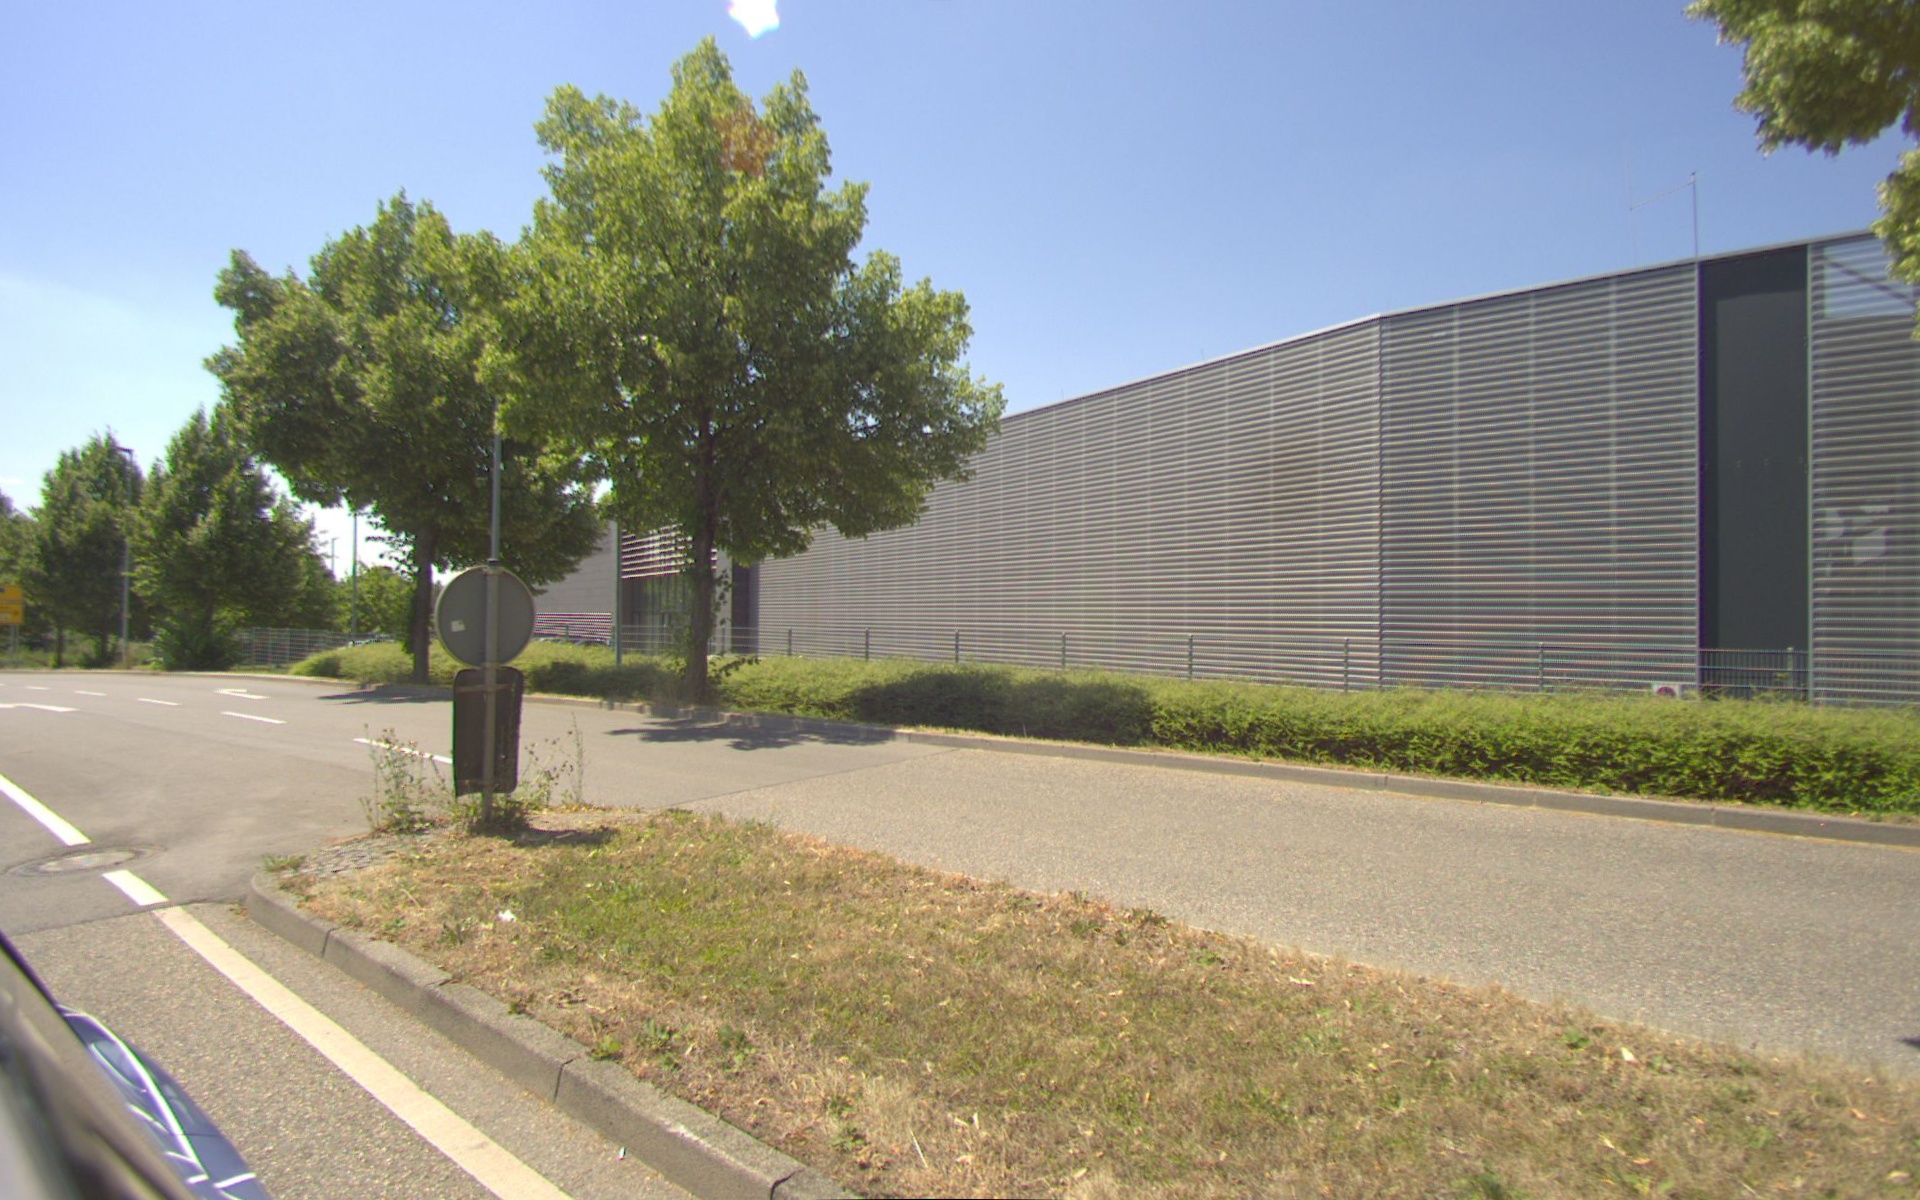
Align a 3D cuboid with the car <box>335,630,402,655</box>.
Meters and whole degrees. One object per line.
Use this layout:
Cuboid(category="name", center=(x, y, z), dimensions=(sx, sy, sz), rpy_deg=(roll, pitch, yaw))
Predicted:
Cuboid(category="car", center=(-43.041, 3.108, 73.623), dimensions=(3.935, 1.719, 2.004), rpy_deg=(3, -6, -38))
